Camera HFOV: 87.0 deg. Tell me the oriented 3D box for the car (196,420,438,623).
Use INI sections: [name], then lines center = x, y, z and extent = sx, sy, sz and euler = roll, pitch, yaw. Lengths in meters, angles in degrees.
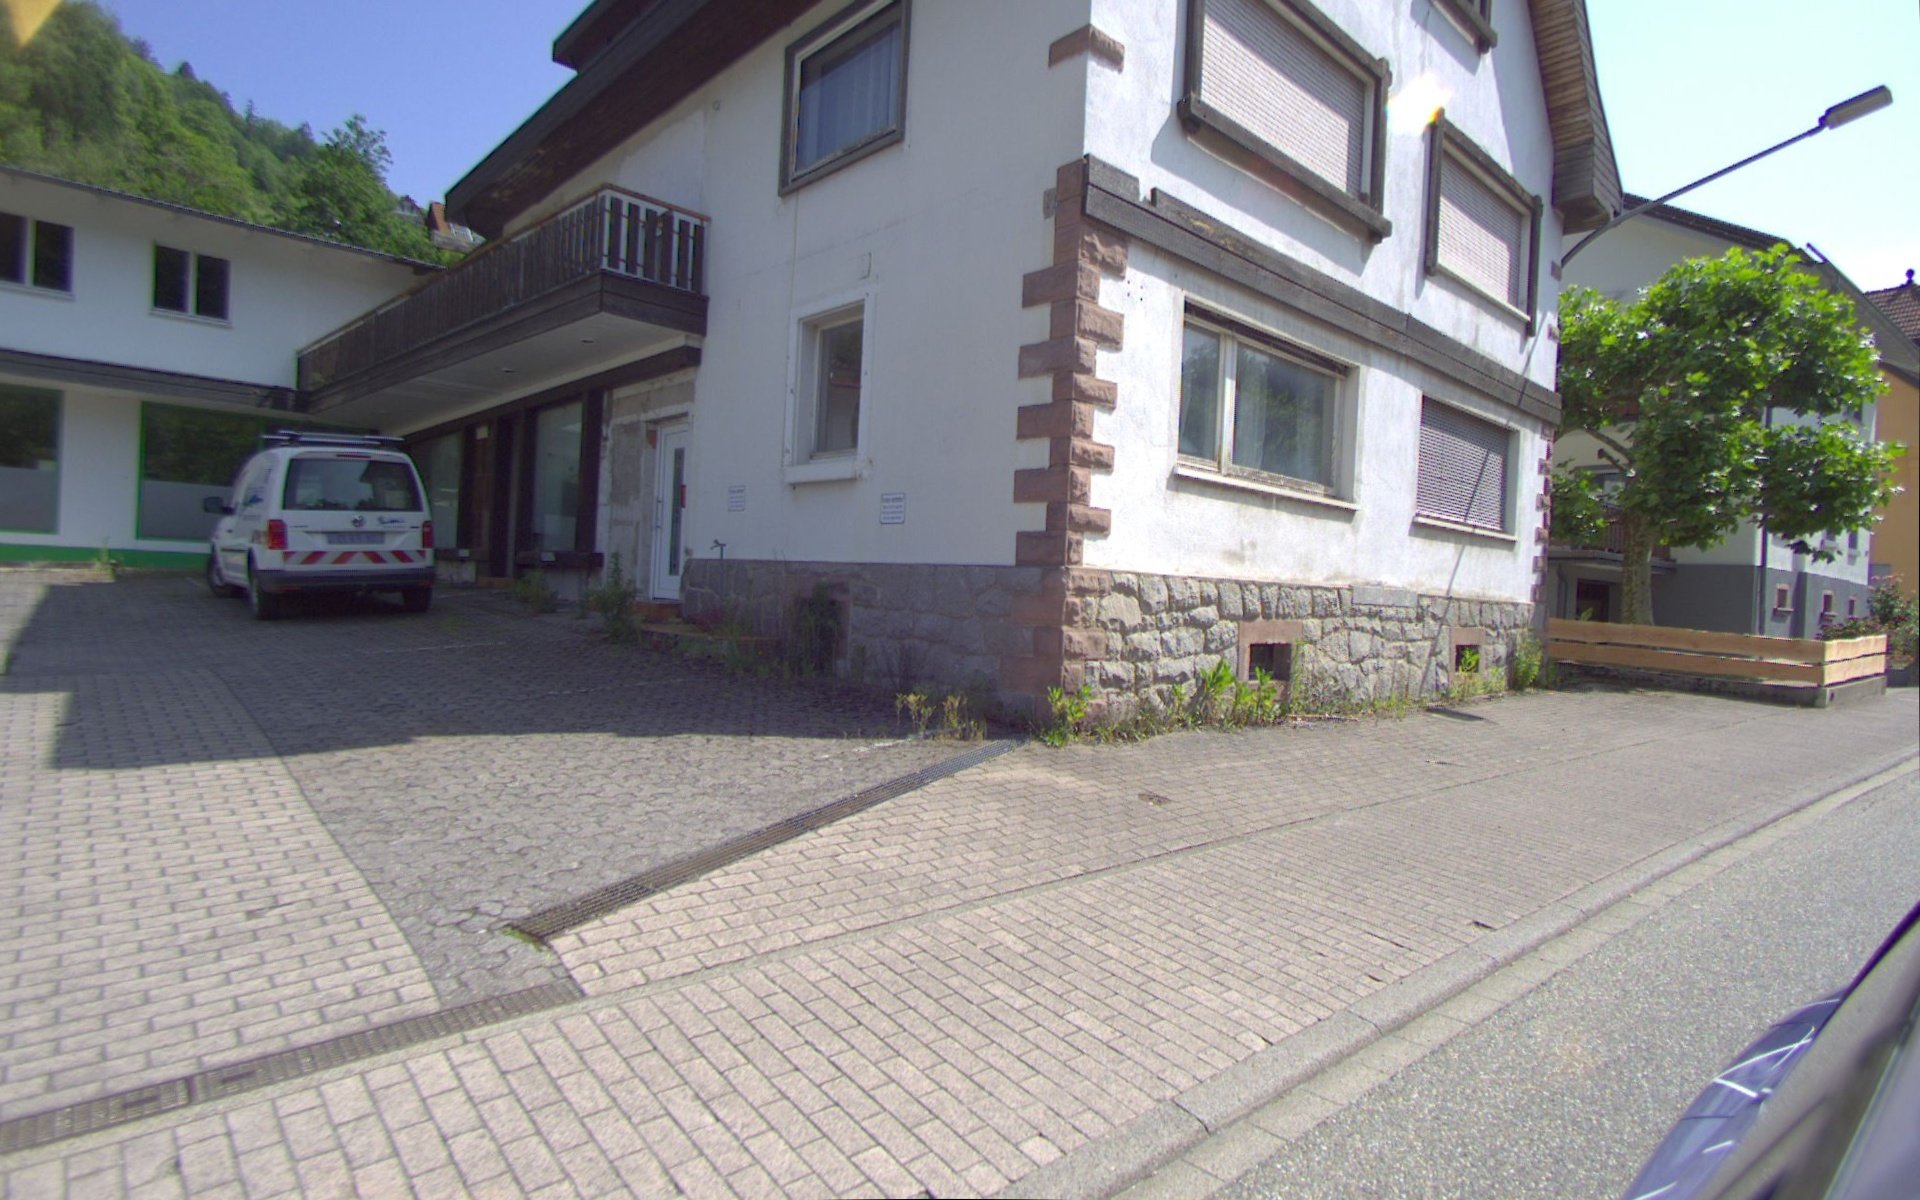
[car]
center = -7.752, -1.039, 12.039
extent = 1.610, 2.007, 4.012
euler = -2, 8, -45
